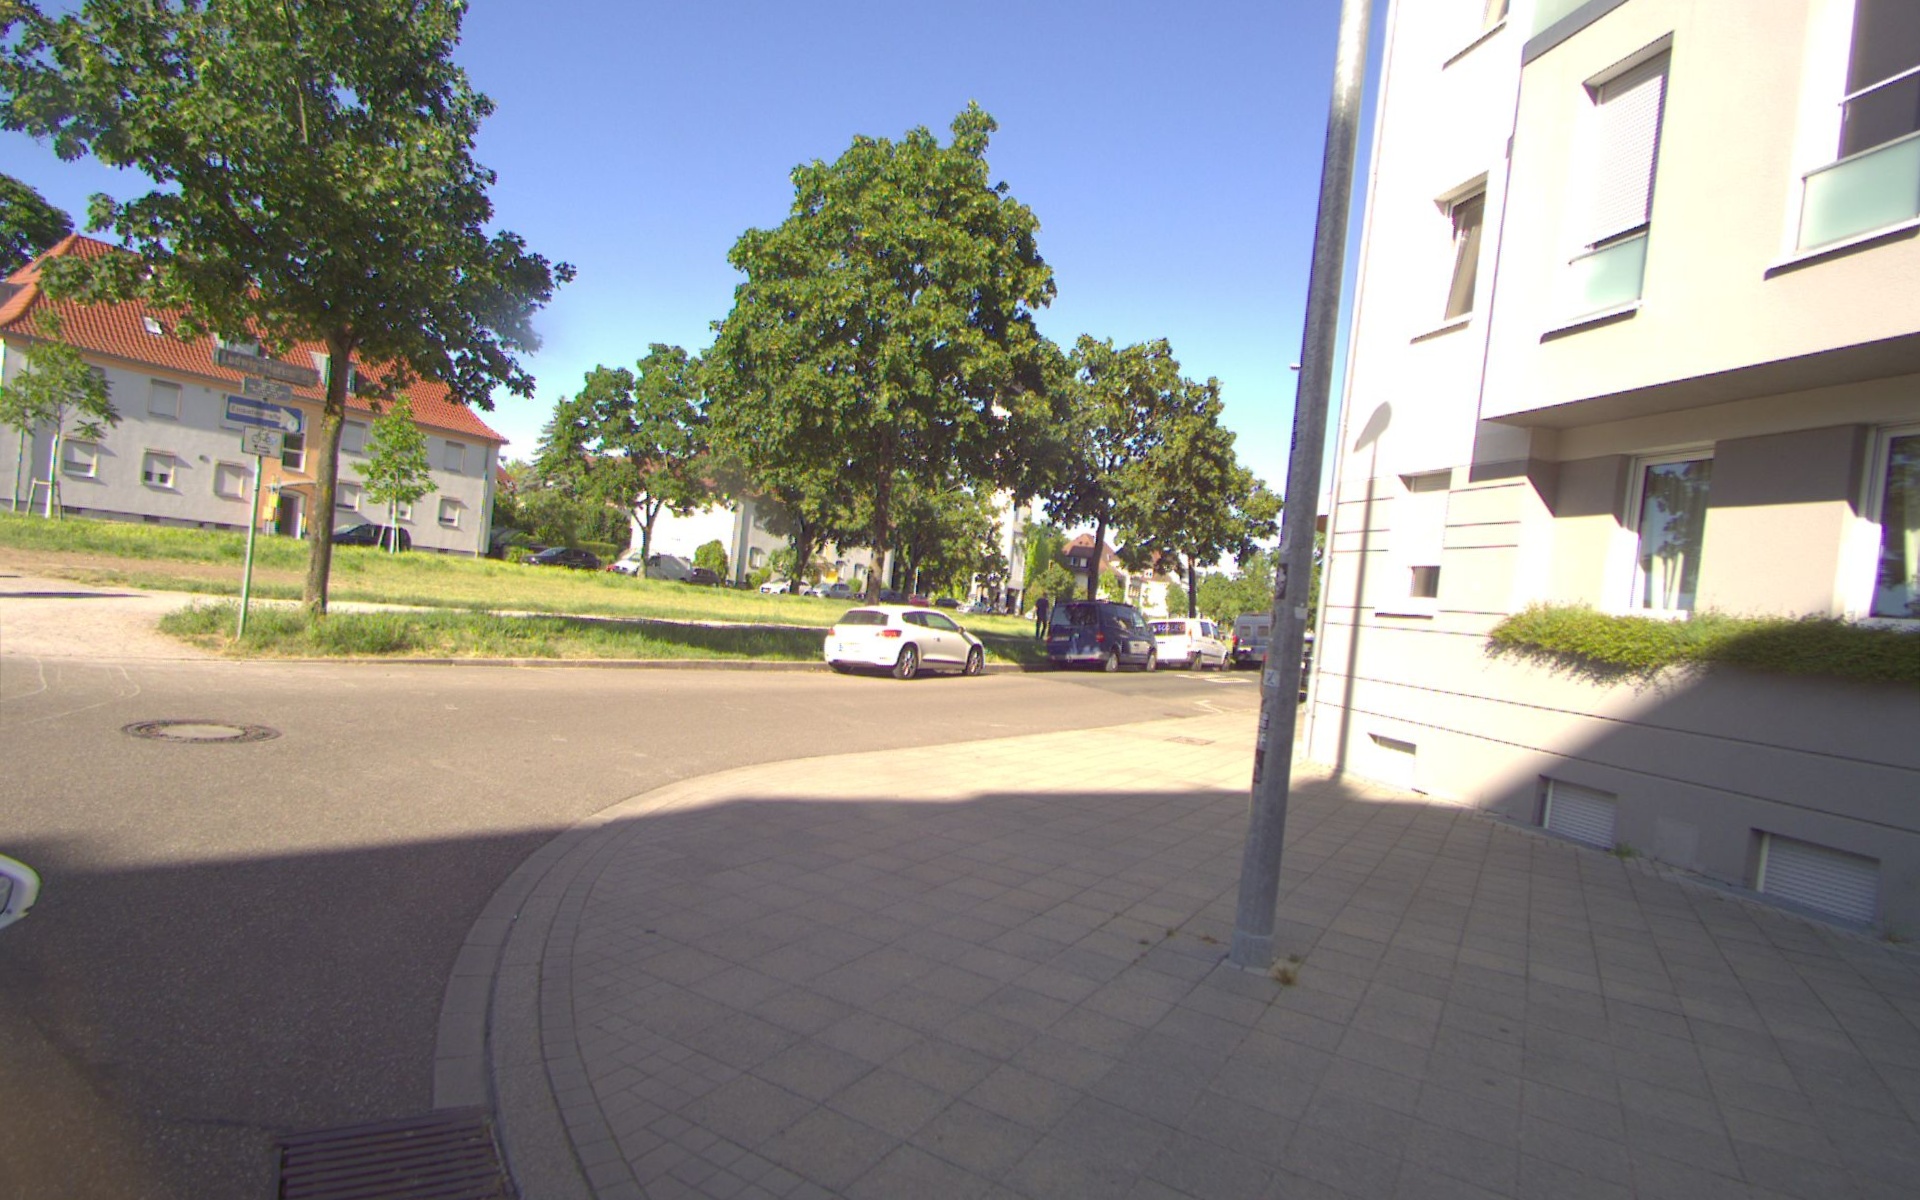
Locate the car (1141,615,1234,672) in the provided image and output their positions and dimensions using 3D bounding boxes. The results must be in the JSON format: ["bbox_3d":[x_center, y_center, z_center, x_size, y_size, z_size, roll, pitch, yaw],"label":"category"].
[{"bbox_3d":[8.365,1.628,36.741,1.847,1.907,4.411,2,-2,33],"label":"car"}]

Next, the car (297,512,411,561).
[{"bbox_3d":[-27.852,-2.884,46.362,1.693,1.685,4.055,7,1,31],"label":"car"}]

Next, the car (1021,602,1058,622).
[{"bbox_3d":[8.119,1.195,102.497,1.857,1.629,4.237,7,1,31],"label":"car"}]

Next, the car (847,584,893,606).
[{"bbox_3d":[-7.322,-0.412,81.853,1.693,1.358,3.800,7,1,31],"label":"car"}]

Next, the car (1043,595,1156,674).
[{"bbox_3d":[4.168,1.049,29.611,1.756,2.109,3.985,2,-2,32],"label":"car"}]

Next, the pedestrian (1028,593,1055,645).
[{"bbox_3d":[3.132,0.745,38.661,0.633,1.901,0.628,7,2,30],"label":"pedestrian"}]

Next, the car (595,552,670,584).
[{"bbox_3d":[-19.685,-1.924,60.648,1.693,1.460,4.131,7,1,31],"label":"car"}]

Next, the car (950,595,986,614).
[{"bbox_3d":[0.783,0.444,96.776,1.693,1.358,3.800,7,1,31],"label":"car"}]

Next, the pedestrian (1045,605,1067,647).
[{"bbox_3d":[3.638,0.992,38.080,0.488,1.524,0.534,8,2,31],"label":"pedestrian"}]

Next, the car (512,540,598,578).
[{"bbox_3d":[-22.369,-2.236,55.668,1.693,1.603,4.131,7,1,31],"label":"car"}]

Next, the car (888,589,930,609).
[{"bbox_3d":[-4.429,-0.091,87.054,1.693,1.358,3.800,7,1,31],"label":"car"}]

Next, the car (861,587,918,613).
[{"bbox_3d":[-5.432,0.010,77.698,1.966,1.544,4.747,7,1,29],"label":"car"}]

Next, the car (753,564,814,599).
[{"bbox_3d":[-12.717,-1.331,72.746,1.840,2.039,4.246,7,1,31],"label":"car"}]

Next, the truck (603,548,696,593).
[{"bbox_3d":[-17.770,-1.664,57.787,1.966,2.062,4.864,7,1,30],"label":"truck"}]

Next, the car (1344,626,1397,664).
[{"bbox_3d":[30.449,3.345,74.487,2.509,2.363,5.905,7,1,32],"label":"car"}]

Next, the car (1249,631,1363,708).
[{"bbox_3d":[9.348,1.838,26.979,1.865,1.703,4.278,6,0,32],"label":"car"}]

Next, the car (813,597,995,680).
[{"bbox_3d":[-1.025,0.818,20.431,1.711,1.450,3.986,2,-2,31],"label":"car"}]

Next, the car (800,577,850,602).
[{"bbox_3d":[-10.297,-0.785,76.881,1.693,1.517,3.800,7,1,31],"label":"car"}]

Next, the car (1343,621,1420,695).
[{"bbox_3d":[16.607,2.262,39.515,1.990,2.580,3.984,6,0,32],"label":"car"}]

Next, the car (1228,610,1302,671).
[{"bbox_3d":[14.239,1.915,46.783,2.158,2.616,4.277,2,-2,32],"label":"car"}]

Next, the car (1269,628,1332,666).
[{"bbox_3d":[17.806,2.471,52.541,2.051,1.619,4.277,7,1,32],"label":"car"}]
